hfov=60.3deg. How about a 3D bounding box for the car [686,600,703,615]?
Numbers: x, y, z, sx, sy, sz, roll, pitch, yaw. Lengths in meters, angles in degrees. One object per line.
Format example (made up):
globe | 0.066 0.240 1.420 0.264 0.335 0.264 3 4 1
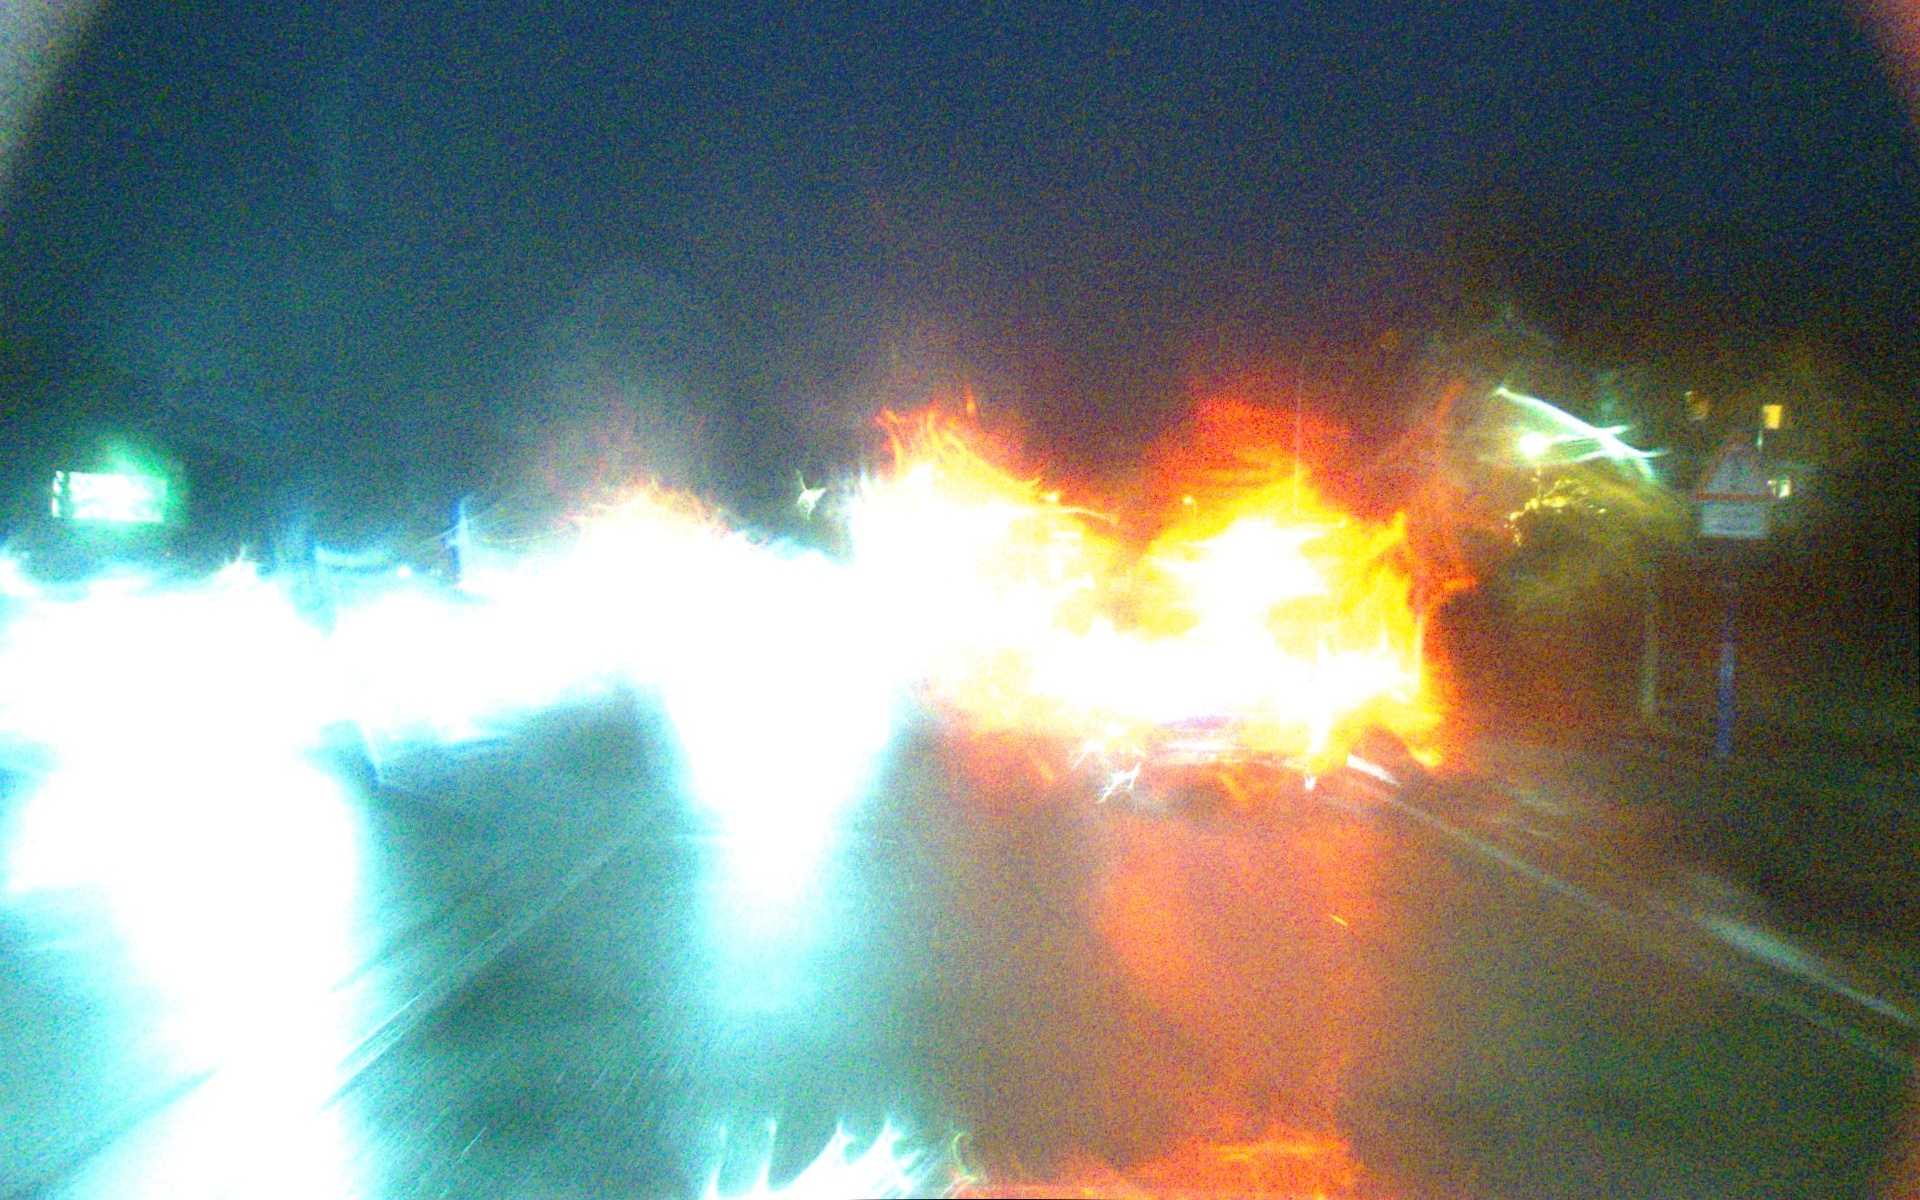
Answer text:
car | -34.096 0.940 212.365 1.956 1.945 4.734 1 0 -8

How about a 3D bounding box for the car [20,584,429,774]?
car | -6.569 0.635 15.411 1.879 1.469 4.543 1 0 -2

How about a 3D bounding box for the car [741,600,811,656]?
car | -5.154 0.751 46.798 1.661 1.459 4.291 2 0 -3

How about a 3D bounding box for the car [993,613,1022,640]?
car | 2.748 1.535 95.633 1.629 1.475 4.050 1 -1 2

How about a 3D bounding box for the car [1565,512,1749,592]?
car | 15.566 -1.034 37.178 1.609 1.646 4.117 1 0 -15

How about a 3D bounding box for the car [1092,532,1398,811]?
car | 2.260 0.523 14.245 1.902 2.006 4.218 1 0 0

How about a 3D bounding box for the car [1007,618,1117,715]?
car | 1.717 1.101 28.728 1.731 1.475 4.219 1 0 2

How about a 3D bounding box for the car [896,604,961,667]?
car | -0.845 0.984 46.335 1.660 1.658 3.852 2 -1 0

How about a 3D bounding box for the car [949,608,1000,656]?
car | 0.548 1.126 59.785 1.673 1.667 3.732 0 0 3

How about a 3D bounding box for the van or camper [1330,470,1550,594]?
van or camper | 12.440 -1.652 43.469 2.539 2.959 6.329 1 0 -17

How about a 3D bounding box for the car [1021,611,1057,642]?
car | 3.951 1.312 82.114 1.628 1.475 4.052 1 -1 4
